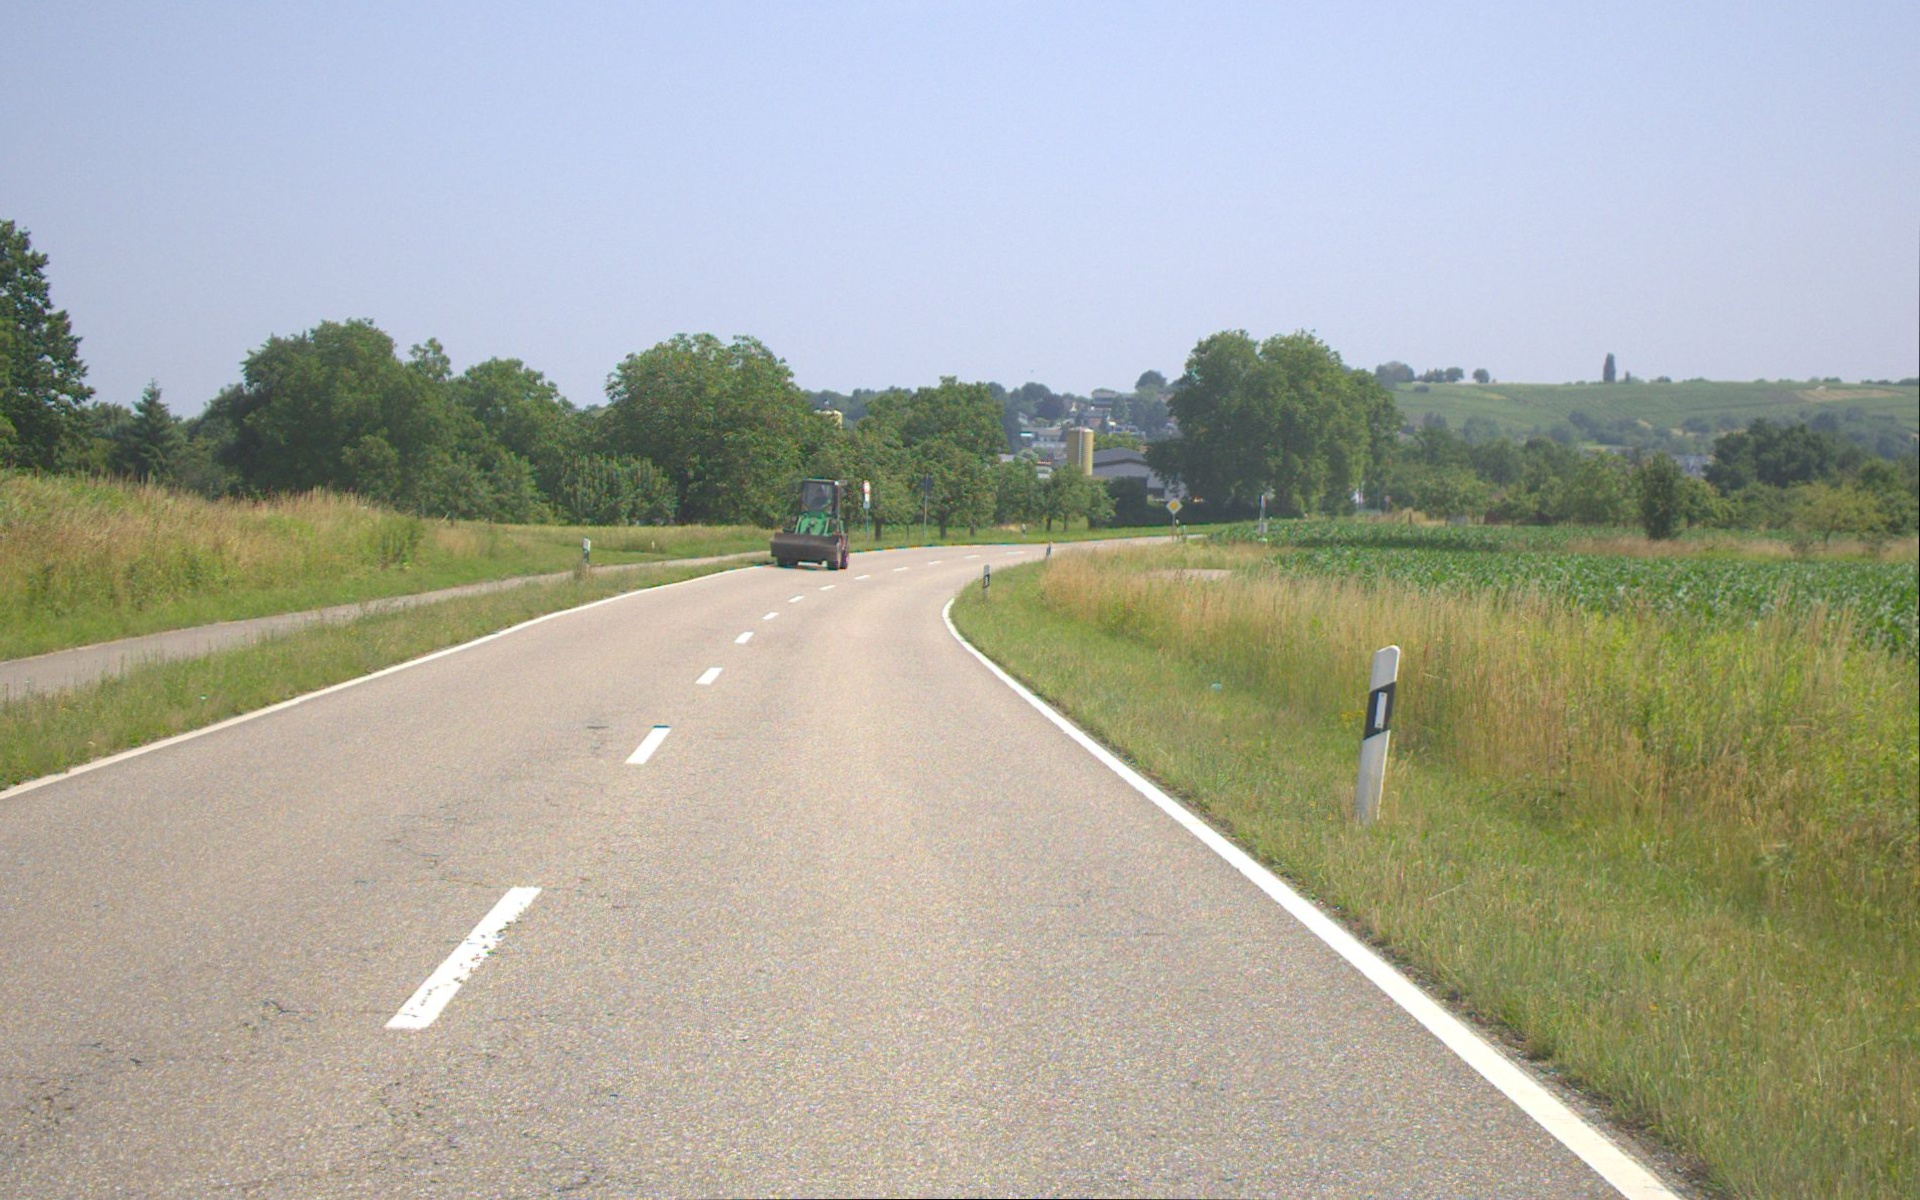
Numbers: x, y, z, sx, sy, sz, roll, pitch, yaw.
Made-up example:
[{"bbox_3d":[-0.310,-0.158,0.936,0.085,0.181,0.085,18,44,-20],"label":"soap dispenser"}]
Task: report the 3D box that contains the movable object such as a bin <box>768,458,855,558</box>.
[{"bbox_3d":[-4.372,-2.722,101.789,2.001,2.745,5.230,4,2,2],"label":"movable object such as a bin"}]
